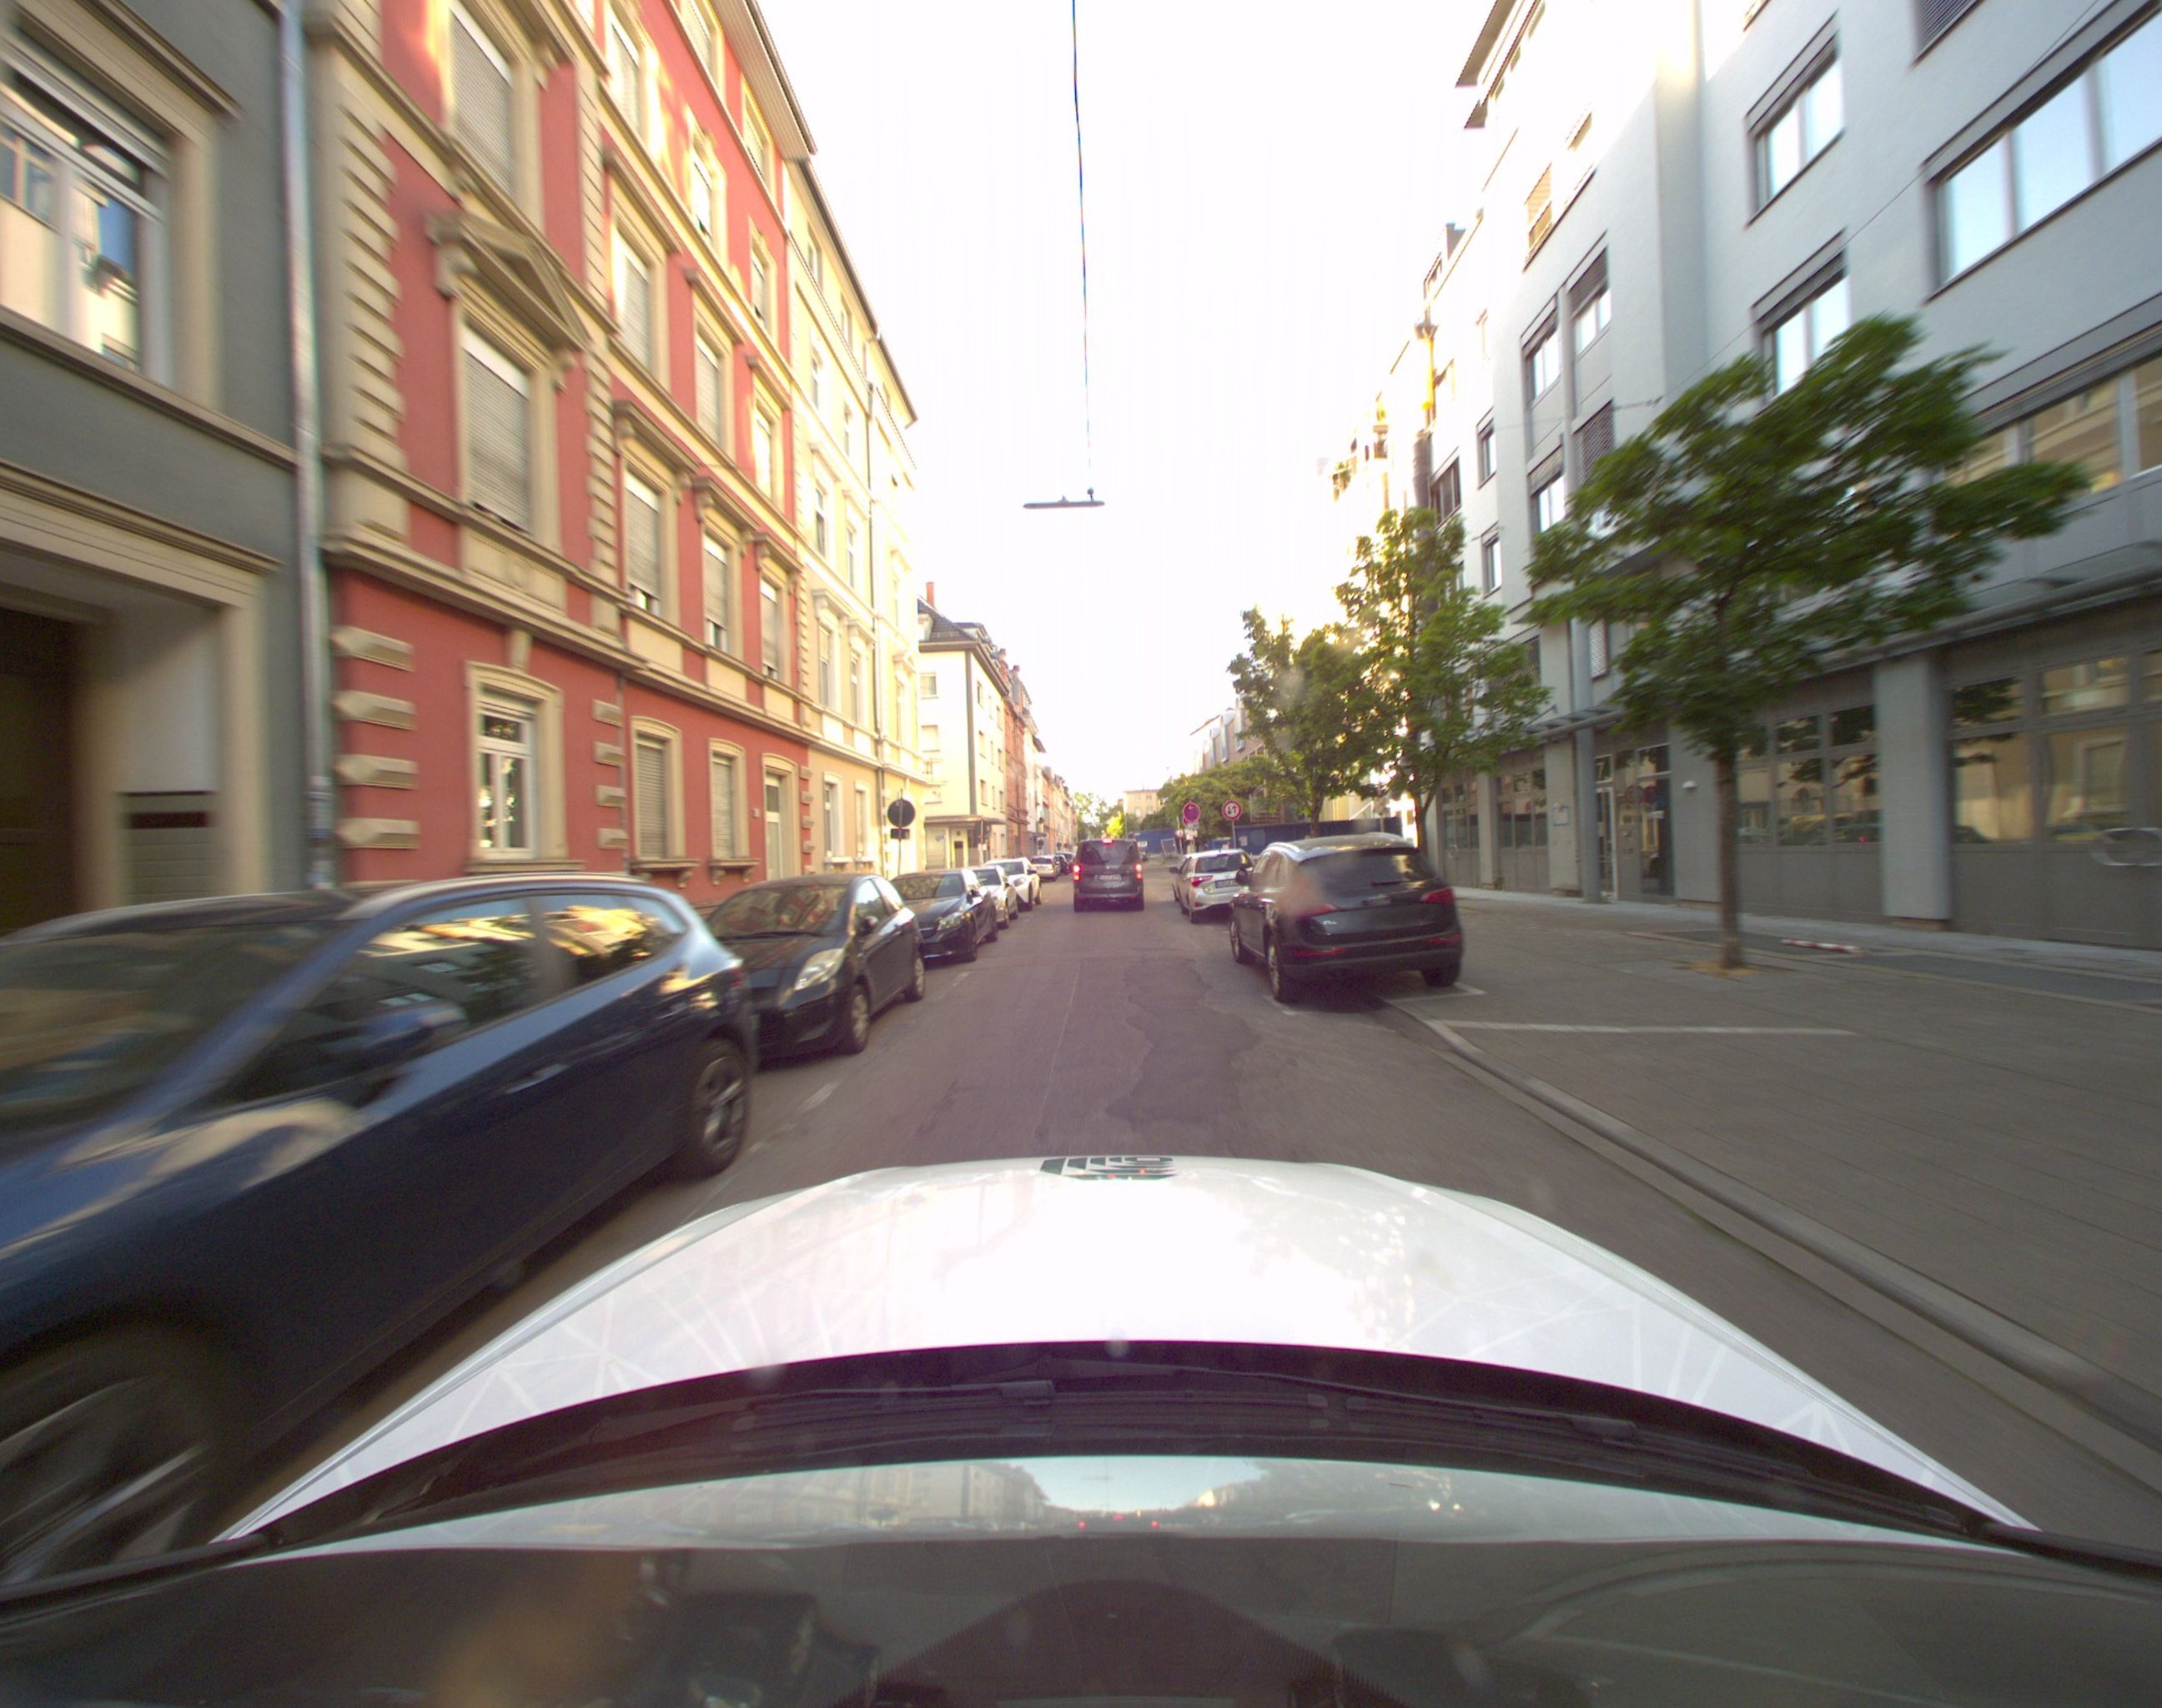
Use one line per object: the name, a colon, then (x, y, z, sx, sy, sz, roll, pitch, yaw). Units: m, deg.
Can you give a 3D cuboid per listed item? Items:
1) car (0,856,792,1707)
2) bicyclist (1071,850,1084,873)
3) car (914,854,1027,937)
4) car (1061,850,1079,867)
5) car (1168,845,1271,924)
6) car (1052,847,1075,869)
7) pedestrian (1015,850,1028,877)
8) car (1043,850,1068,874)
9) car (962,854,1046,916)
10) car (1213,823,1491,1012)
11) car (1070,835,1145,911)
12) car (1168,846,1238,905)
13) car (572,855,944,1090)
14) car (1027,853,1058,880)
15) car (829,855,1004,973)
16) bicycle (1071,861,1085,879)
car: (-2.808, 0.882, 2.845, 1.914, 1.560, 4.267, -4, 0, 1)
bicyclist: (-0.189, 0.441, 49.292, 0.730, 1.412, 0.941, -1, 0, 2)
car: (-2.442, 0.863, 19.086, 1.914, 1.560, 4.267, -4, 0, 1)
car: (-1.237, 0.551, 93.217, 1.887, 1.846, 4.345, 2, -1, -2)
car: (3.097, 0.639, 18.975, 1.671, 1.525, 3.970, -4, 0, 0)
car: (-1.579, 0.382, 73.033, 1.887, 1.846, 4.345, 2, -1, -2)
pedestrian: (-3.814, 0.602, 52.437, 0.738, 1.664, 0.703, -2, 0, -3)
car: (-1.993, 0.635, 63.663, 1.887, 1.719, 3.751, 2, -1, -2)
car: (-2.200, 0.849, 24.488, 1.914, 1.507, 4.268, -4, 0, 1)
car: (2.865, 0.587, 9.759, 1.878, 1.622, 4.436, -4, 0, 2)
car: (0.743, 0.489, 22.802, 1.858, 1.886, 4.236, -1, -1, 1)
car: (3.469, 0.582, 23.700, 1.669, 1.475, 3.734, -4, 0, 4)
car: (-2.761, 0.888, 8.191, 1.894, 1.560, 4.241, -4, 0, 1)
car: (-2.218, 0.716, 47.591, 1.652, 1.460, 3.415, 2, -1, -2)
car: (-2.525, 0.857, 13.663, 1.914, 1.483, 4.267, -4, 0, 1)
bicycle: (-0.184, 0.960, 49.163, 0.730, 1.027, 2.116, -1, 0, 2)
